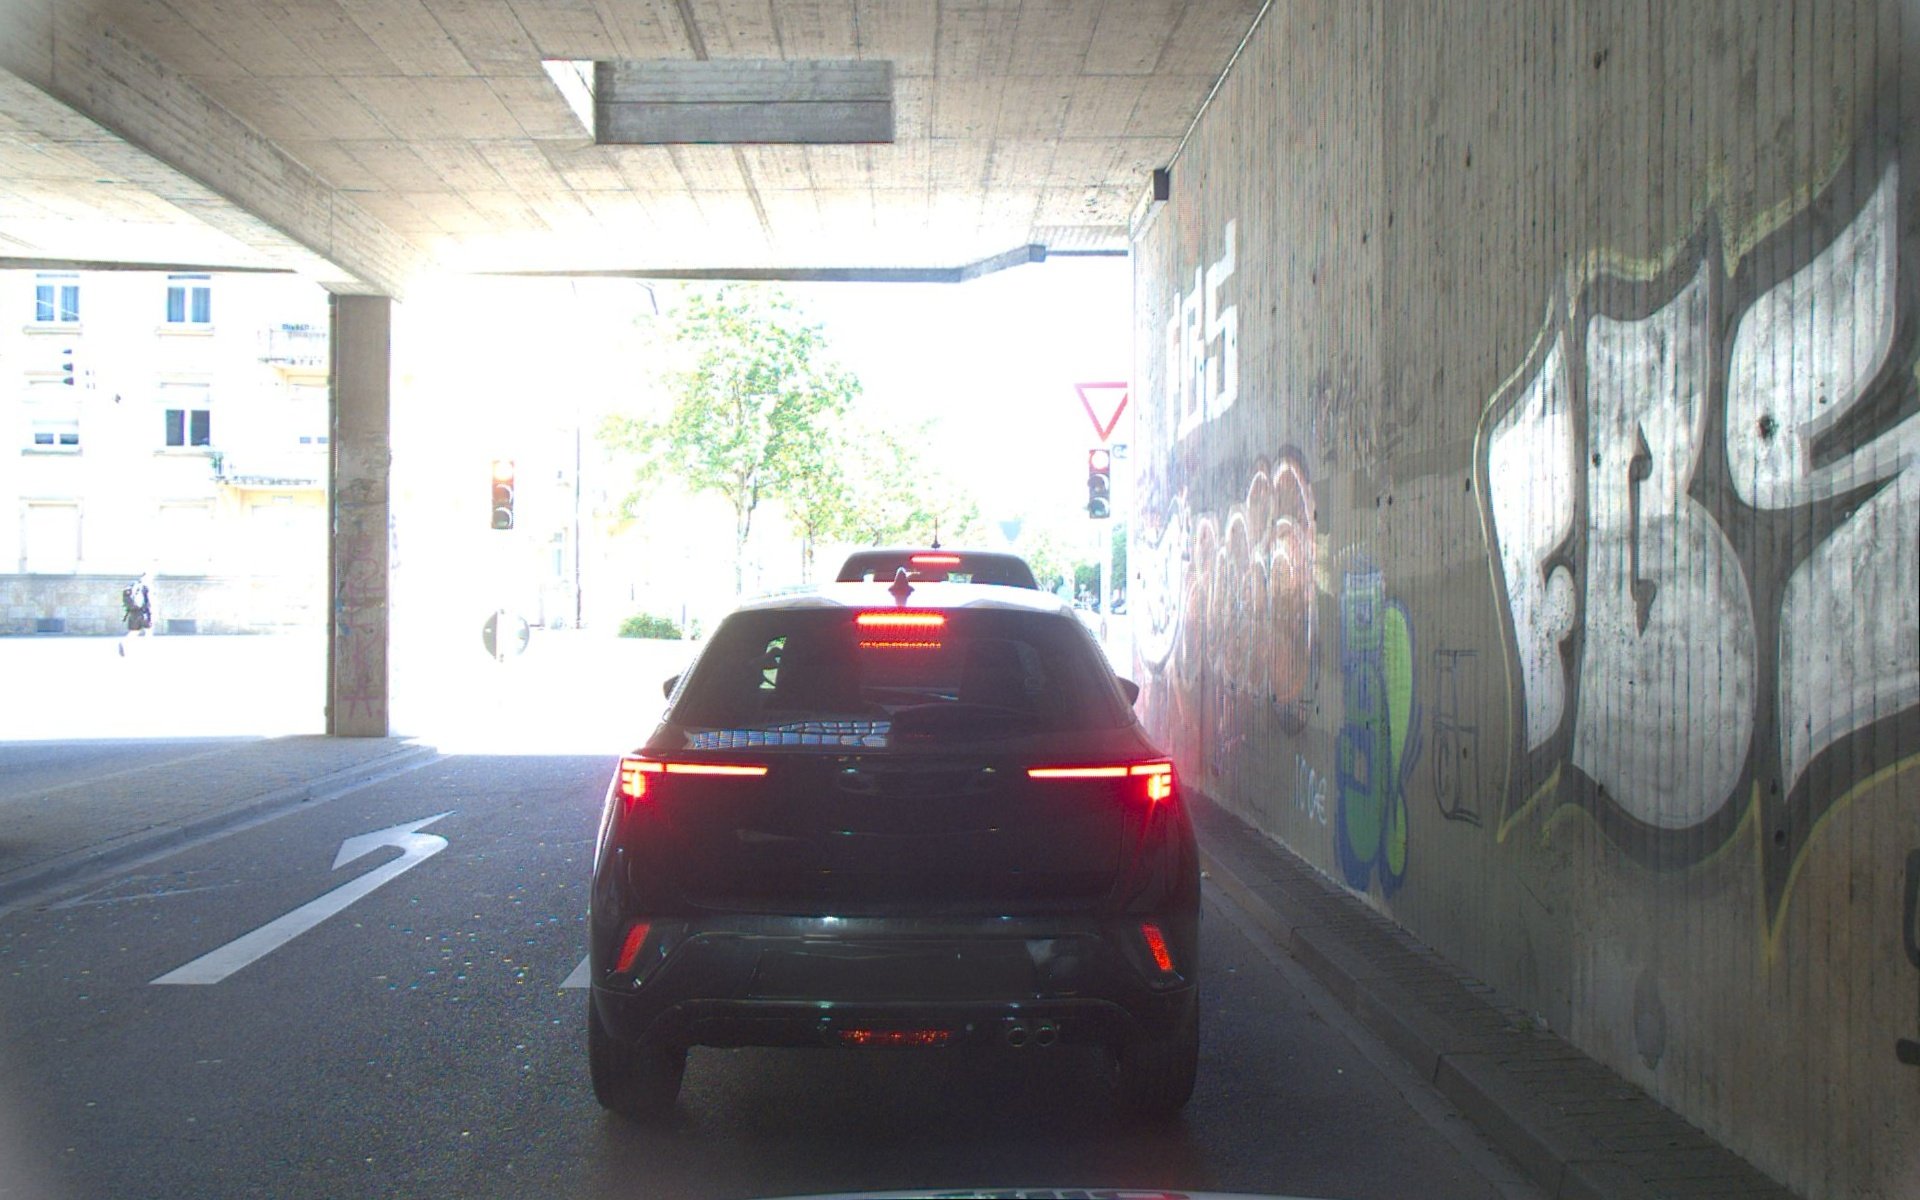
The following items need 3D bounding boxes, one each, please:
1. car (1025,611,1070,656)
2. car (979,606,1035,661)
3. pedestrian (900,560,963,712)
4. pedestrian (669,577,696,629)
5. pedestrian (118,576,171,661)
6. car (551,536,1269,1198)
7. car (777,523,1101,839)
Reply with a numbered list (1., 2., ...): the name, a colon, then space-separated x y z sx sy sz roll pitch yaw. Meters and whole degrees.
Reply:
1. car: 4.086 1.524 76.333 1.951 2.004 4.166 1 0 4
2. car: 1.849 1.273 64.311 1.951 2.004 4.166 1 0 4
3. pedestrian: -0.342 0.421 19.818 0.716 1.764 0.874 1 -1 -1
4. pedestrian: -11.461 0.125 68.409 0.873 2.124 0.808 1 -1 7
5. pedestrian: -16.280 0.362 33.043 0.658 1.666 0.740 1 -1 -1
6. car: -0.149 0.612 6.043 1.729 1.598 4.000 1 1 -1
7. car: -0.154 0.479 12.019 1.953 1.904 3.999 0 0 -1
